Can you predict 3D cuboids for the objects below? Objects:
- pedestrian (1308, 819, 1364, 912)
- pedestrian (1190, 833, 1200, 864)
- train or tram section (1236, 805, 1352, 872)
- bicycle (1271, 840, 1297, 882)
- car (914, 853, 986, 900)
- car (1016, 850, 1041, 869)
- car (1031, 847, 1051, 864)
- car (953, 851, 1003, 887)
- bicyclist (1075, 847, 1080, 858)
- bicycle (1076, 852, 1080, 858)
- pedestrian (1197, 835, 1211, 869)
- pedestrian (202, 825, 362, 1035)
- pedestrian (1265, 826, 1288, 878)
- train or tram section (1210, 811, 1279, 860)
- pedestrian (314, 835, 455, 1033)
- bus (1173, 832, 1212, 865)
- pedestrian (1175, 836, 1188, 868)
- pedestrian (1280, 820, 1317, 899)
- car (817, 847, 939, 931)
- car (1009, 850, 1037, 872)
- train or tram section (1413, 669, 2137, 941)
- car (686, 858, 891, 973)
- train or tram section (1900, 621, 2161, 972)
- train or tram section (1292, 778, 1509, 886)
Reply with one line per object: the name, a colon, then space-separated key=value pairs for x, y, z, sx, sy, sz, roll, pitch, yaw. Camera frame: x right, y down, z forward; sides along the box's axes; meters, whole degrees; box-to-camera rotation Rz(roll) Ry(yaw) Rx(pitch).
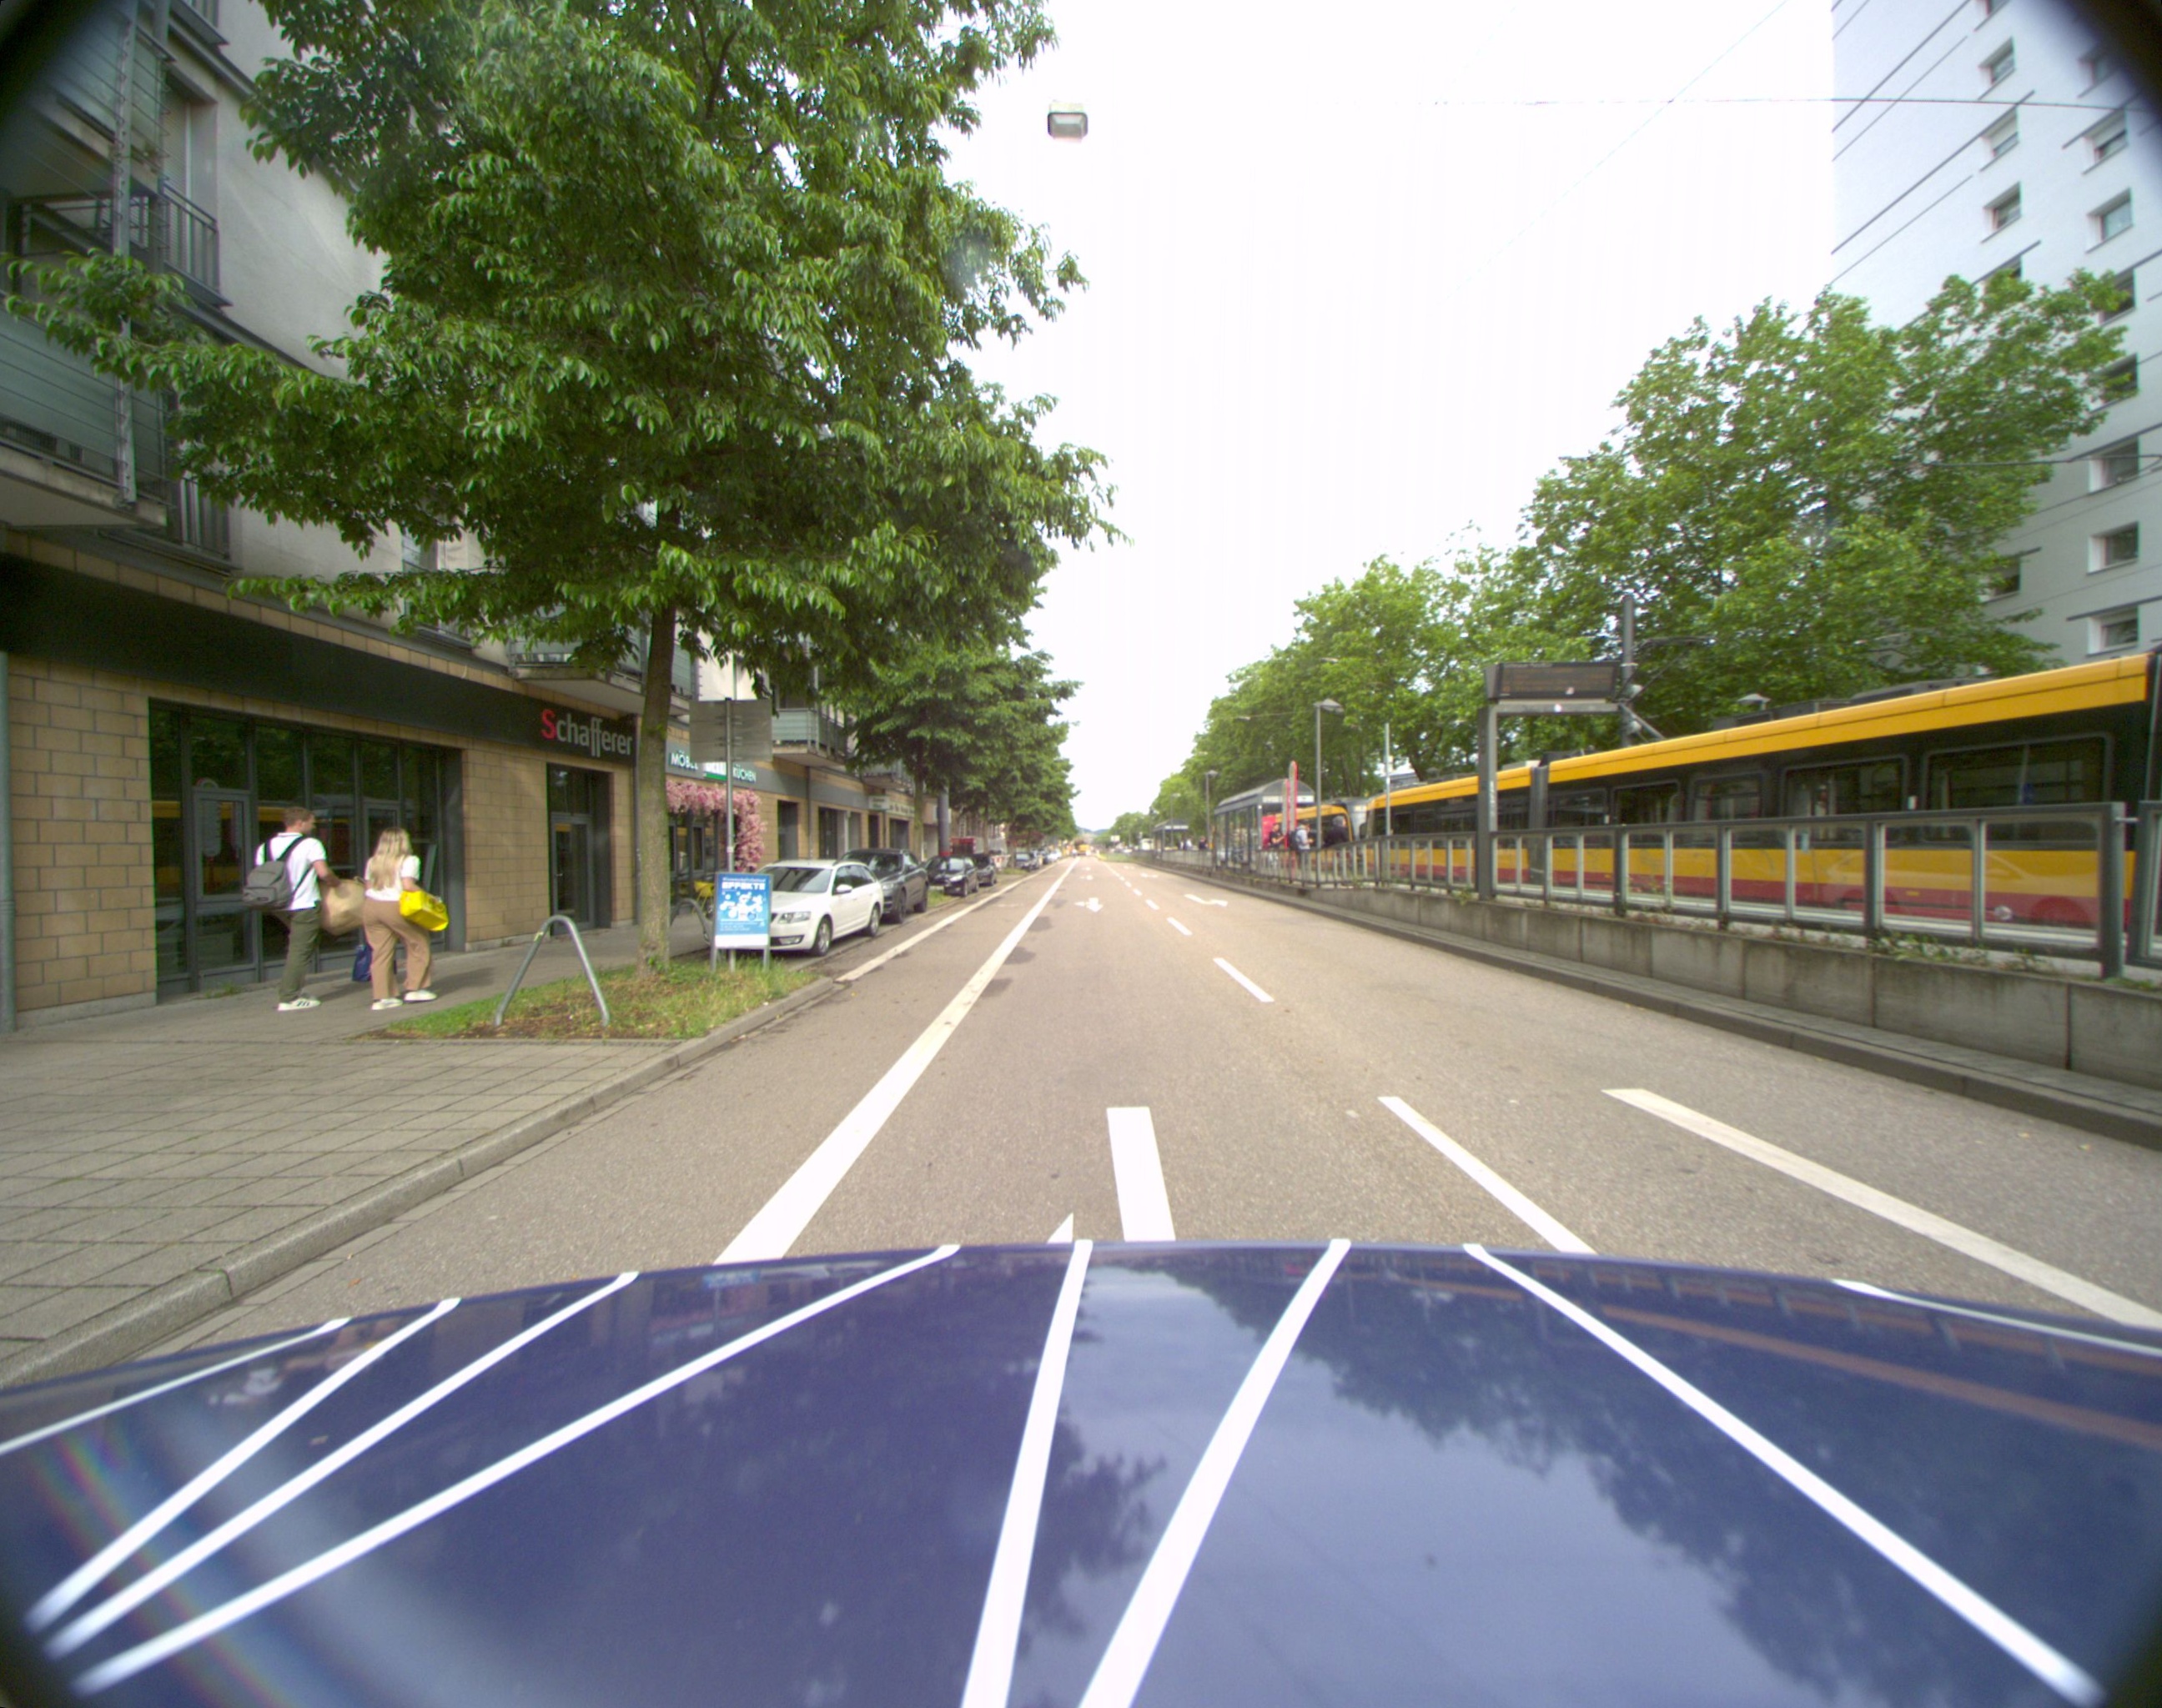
pedestrian: x=5.659 y=0.242 z=16.870 sx=0.756 sy=2.002 sz=0.816 roll=-3 pitch=2 yaw=-36
pedestrian: x=6.201 y=-0.298 z=41.360 sx=0.480 sy=1.623 sz=0.392 roll=-2 pitch=1 yaw=2
train or tram section: x=13.004 y=-0.956 z=48.625 sx=3.067 sy=3.511 sz=15.769 roll=-2 pitch=1 yaw=1
bicycle: x=6.130 y=0.184 z=22.961 sx=0.420 sy=1.215 sz=1.289 roll=-2 pitch=1 yaw=0
car: x=-4.617 y=0.740 z=27.365 sx=1.680 sy=1.433 sz=4.407 roll=2 pitch=1 yaw=2
car: x=-4.288 y=0.443 z=62.701 sx=1.755 sy=1.452 sz=4.279 roll=1 pitch=1 yaw=0
car: x=-4.094 y=0.144 z=78.814 sx=1.837 sy=1.720 sz=4.279 roll=1 pitch=1 yaw=0
car: x=-4.669 y=0.635 z=35.042 sx=1.802 sy=1.447 sz=4.387 roll=2 pitch=1 yaw=-1
bicyclist: x=-0.593 y=-0.292 z=132.921 sx=0.751 sy=1.777 sz=0.838 roll=-2 pitch=1 yaw=1
bicycle: x=-0.584 y=0.193 z=132.695 sx=0.613 sy=1.116 sz=2.050 roll=-2 pitch=1 yaw=1
pedestrian: x=5.897 y=-0.090 z=36.503 sx=0.513 sy=1.623 sz=0.730 roll=-2 pitch=1 yaw=2
pedestrian: x=-7.504 y=0.676 z=7.169 sx=0.676 sy=1.880 sz=0.737 roll=0 pitch=1 yaw=2
pedestrian: x=6.227 y=-0.064 z=24.209 sx=0.532 sy=1.623 sz=0.471 roll=-2 pitch=1 yaw=-2
train or tram section: x=13.203 y=-1.471 z=62.773 sx=3.100 sy=3.541 sz=12.537 roll=-2 pitch=1 yaw=1
pedestrian: x=-6.591 y=0.720 z=7.229 sx=0.617 sy=1.795 sz=0.737 roll=0 pitch=1 yaw=2
bus: x=7.336 y=-0.375 z=50.333 sx=1.998 sy=2.002 sz=3.999 roll=-2 pitch=1 yaw=1
pedestrian: x=6.466 y=-0.133 z=48.941 sx=0.676 sy=2.002 sz=0.588 roll=-2 pitch=1 yaw=-2
pedestrian: x=5.661 y=0.128 z=19.740 sx=0.753 sy=2.002 sz=0.819 roll=-2 pitch=2 yaw=24
car: x=-4.750 y=0.717 z=18.483 sx=1.716 sy=1.707 sz=4.710 roll=2 pitch=1 yaw=-1
car: x=-4.294 y=0.485 z=56.510 sx=1.755 sy=1.452 sz=4.279 roll=1 pitch=1 yaw=0
train or tram section: x=12.626 y=-0.764 z=17.790 sx=3.067 sy=3.511 sz=15.292 roll=-2 pitch=1 yaw=1
car: x=-4.711 y=0.890 z=12.996 sx=1.680 sy=1.490 sz=4.389 roll=2 pitch=1 yaw=2
train or tram section: x=12.444 y=-0.548 z=2.249 sx=3.067 sy=3.568 sz=15.846 roll=-2 pitch=1 yaw=1
train or tram section: x=12.825 y=-0.844 z=33.102 sx=3.067 sy=3.511 sz=15.292 roll=-2 pitch=1 yaw=1
